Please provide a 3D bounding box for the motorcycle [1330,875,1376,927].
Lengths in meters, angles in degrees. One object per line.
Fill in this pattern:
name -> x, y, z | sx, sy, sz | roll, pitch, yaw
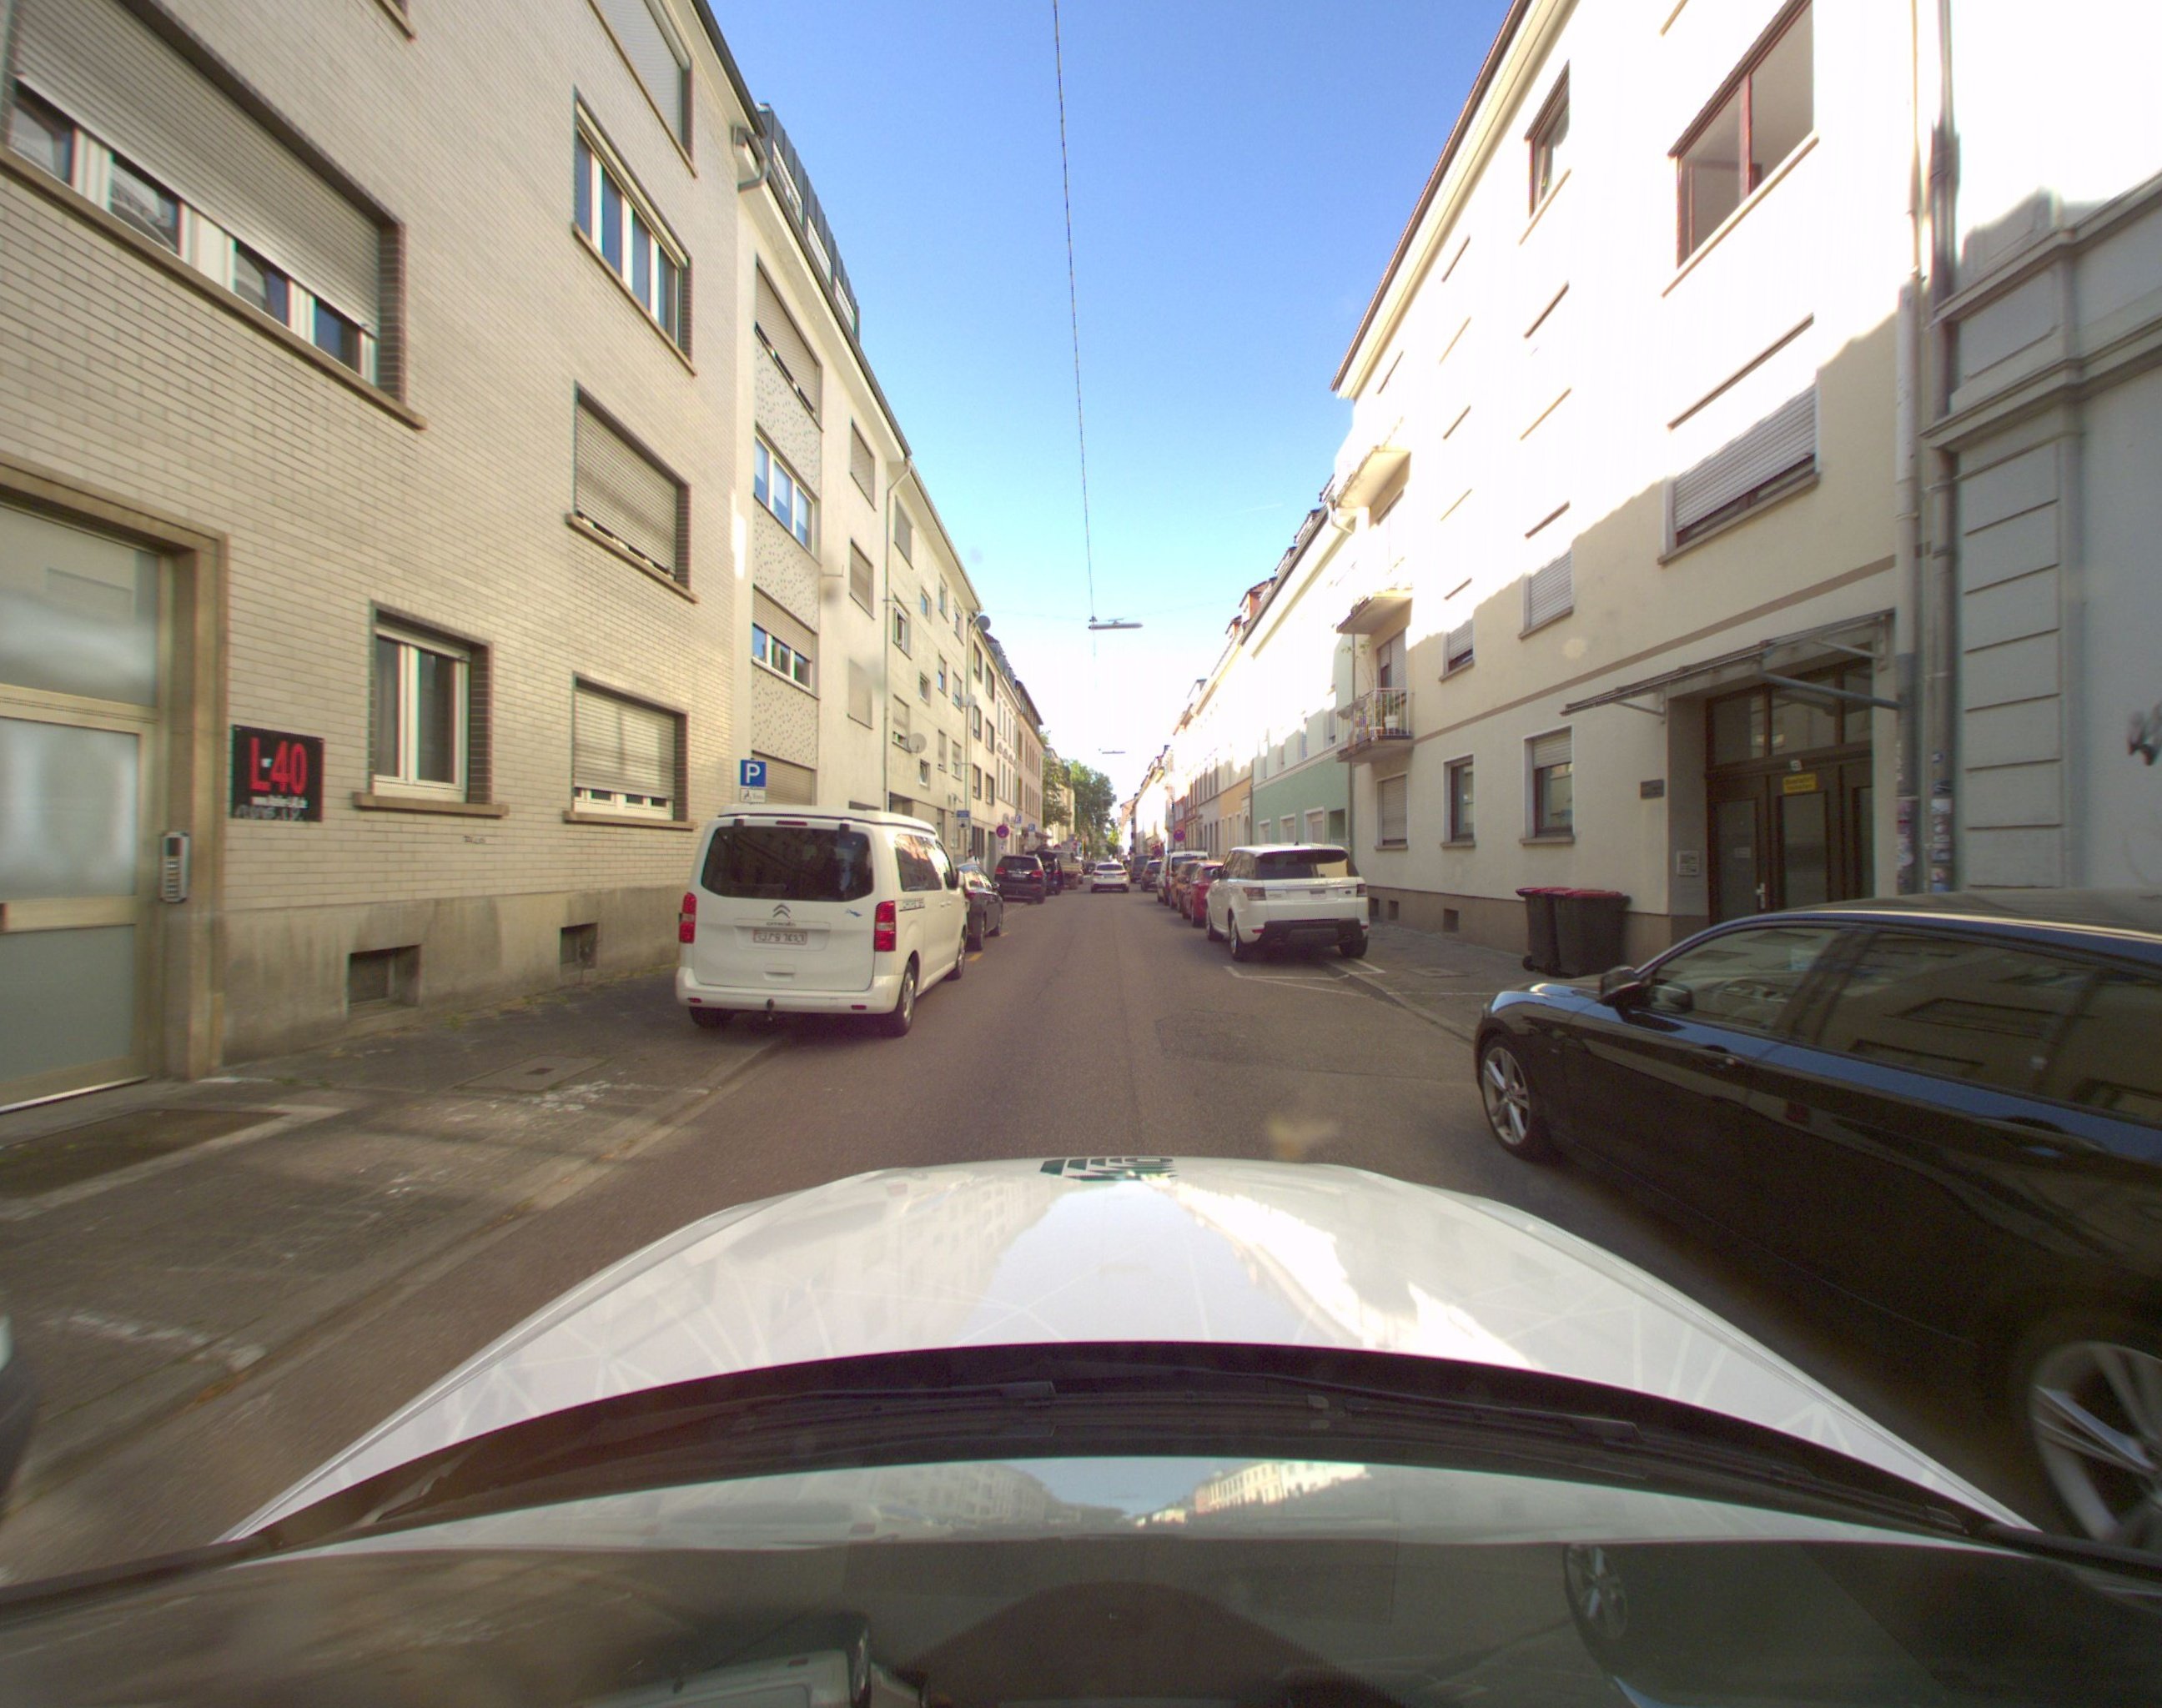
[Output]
motorcycle -> 5.949, 1.002, 17.873 | 0.478, 1.046, 1.692 | 0, -1, 1

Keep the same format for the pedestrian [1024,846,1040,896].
pedestrian -> -2.182, 0.758, 36.148 | 0.616, 2.229, 0.688 | 0, -2, 2

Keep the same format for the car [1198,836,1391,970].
car -> 3.214, 0.658, 13.364 | 1.998, 1.783, 4.940 | 0, 0, 2

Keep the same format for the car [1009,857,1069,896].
car -> -1.923, 1.036, 39.008 | 2.432, 1.706, 5.244 | 1, -1, 2

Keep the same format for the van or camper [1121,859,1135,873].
van or camper -> 7.004, 1.826, 121.754 | 1.986, 1.926, 4.001 | 0, -2, 2

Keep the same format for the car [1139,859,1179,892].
car -> 3.941, 1.050, 41.579 | 1.733, 1.577, 4.379 | 0, 0, 2

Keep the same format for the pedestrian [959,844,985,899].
pedestrian -> -3.936, 0.620, 29.393 | 0.803, 1.934, 0.691 | -1, -1, 1

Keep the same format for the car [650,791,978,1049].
car -> -2.390, 0.521, 8.783 | 1.888, 1.958, 4.780 | 2, 0, 0

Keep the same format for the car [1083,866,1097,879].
car -> 1.129, 2.220, 99.087 | 1.618, 1.597, 3.582 | 1, -1, 2

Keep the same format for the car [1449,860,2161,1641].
car -> 2.970, 0.792, 2.774 | 1.740, 1.448, 3.871 | 2, 0, 2

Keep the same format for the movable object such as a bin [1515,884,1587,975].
movable object such as a bin -> 5.821, 0.925, 10.109 | 0.574, 1.071, 0.553 | -1, -1, 4

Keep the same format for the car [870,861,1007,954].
car -> -2.448, 0.867, 15.042 | 1.701, 1.450, 4.301 | 1, -1, 0

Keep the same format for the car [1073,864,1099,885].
car -> 0.384, 1.434, 58.078 | 1.752, 1.416, 4.000 | -2, -1, 0

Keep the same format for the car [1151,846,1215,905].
car -> 3.563, 0.752, 29.084 | 1.776, 1.962, 4.336 | 0, -1, 1

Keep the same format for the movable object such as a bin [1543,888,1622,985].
movable object such as a bin -> 5.812, 0.941, 9.462 | 0.574, 1.071, 0.553 | -1, -1, 4

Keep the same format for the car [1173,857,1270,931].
car -> 3.277, 0.875, 19.654 | 1.736, 1.569, 4.033 | 0, 0, 1

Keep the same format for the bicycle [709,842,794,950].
bicycle -> -4.993, 0.604, 12.467 | 0.555, 1.509, 1.799 | 2, -1, -2

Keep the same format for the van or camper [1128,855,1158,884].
van or camper -> 4.471, 1.112, 59.228 | 1.769, 2.036, 4.569 | -1, -1, 0

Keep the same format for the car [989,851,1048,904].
car -> -2.237, 0.813, 30.384 | 1.874, 1.755, 4.539 | 3, 0, -2

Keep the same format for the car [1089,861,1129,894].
car -> 1.388, 1.111, 39.690 | 1.826, 1.486, 4.059 | 0, -1, 3

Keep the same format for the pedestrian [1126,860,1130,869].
pedestrian -> 7.148, 1.576, 123.401 | 0.625, 1.464, 0.575 | 0, -2, 2

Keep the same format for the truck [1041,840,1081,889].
truck -> -1.198, 0.661, 46.966 | 2.152, 2.590, 6.242 | 0, -2, -3

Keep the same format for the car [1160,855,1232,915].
car -> 3.377, 0.870, 24.425 | 1.575, 1.632, 3.680 | 2, 0, -1

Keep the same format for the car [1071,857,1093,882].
car -> 0.033, 1.160, 63.332 | 1.642, 1.868, 3.998 | 0, -1, -1
